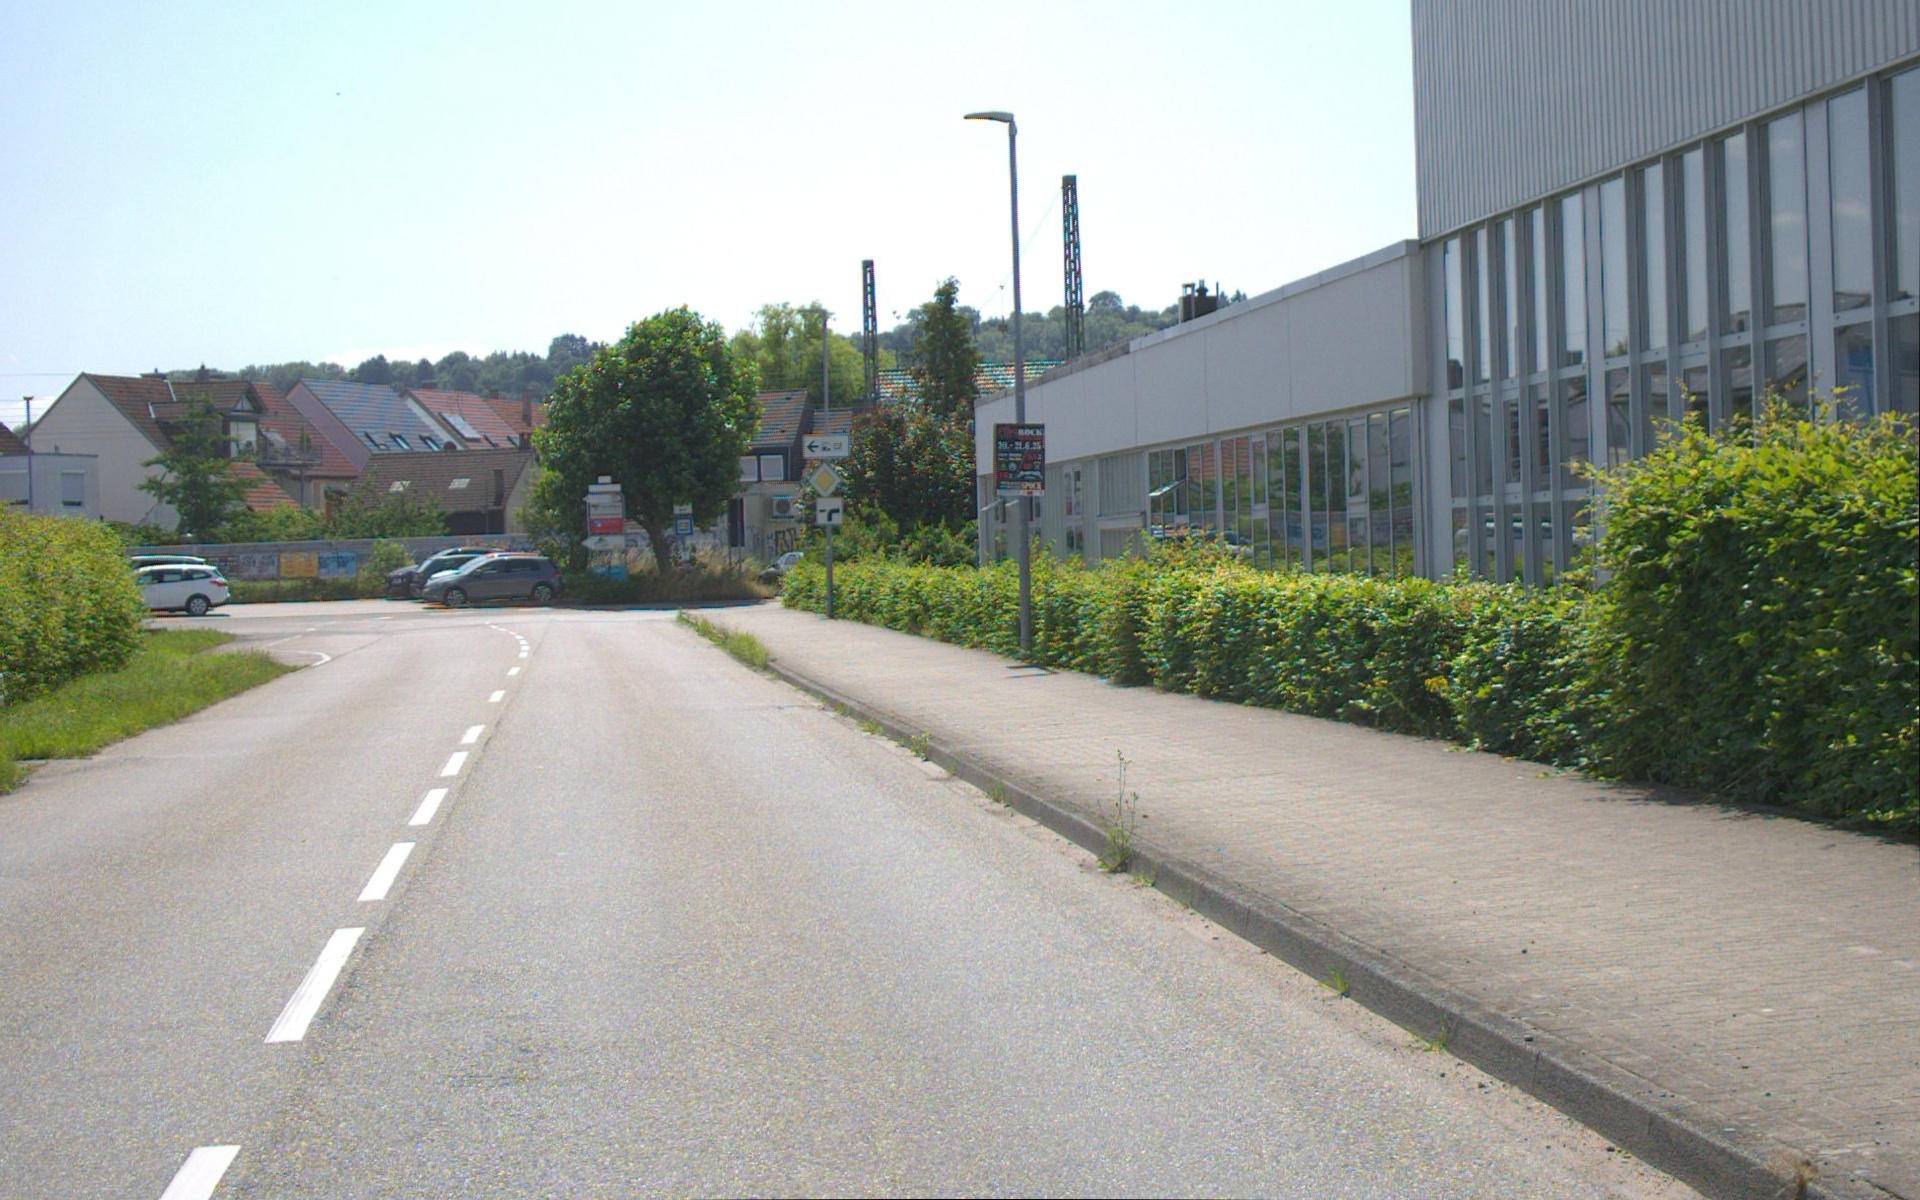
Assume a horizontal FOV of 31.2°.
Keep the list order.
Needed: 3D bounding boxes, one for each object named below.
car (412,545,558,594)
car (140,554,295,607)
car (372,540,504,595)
[{"bbox_3d":[-14.349,-0.924,103.784,4.186,1.458,1.665,0,0,-15],"label":"car"},{"bbox_3d":[-21.917,-0.572,101.445,4.281,1.472,1.828,1,0,-18],"label":"car"},{"bbox_3d":[-16.890,-1.038,111.193,3.986,1.724,1.771,1,0,-16],"label":"car"}]
